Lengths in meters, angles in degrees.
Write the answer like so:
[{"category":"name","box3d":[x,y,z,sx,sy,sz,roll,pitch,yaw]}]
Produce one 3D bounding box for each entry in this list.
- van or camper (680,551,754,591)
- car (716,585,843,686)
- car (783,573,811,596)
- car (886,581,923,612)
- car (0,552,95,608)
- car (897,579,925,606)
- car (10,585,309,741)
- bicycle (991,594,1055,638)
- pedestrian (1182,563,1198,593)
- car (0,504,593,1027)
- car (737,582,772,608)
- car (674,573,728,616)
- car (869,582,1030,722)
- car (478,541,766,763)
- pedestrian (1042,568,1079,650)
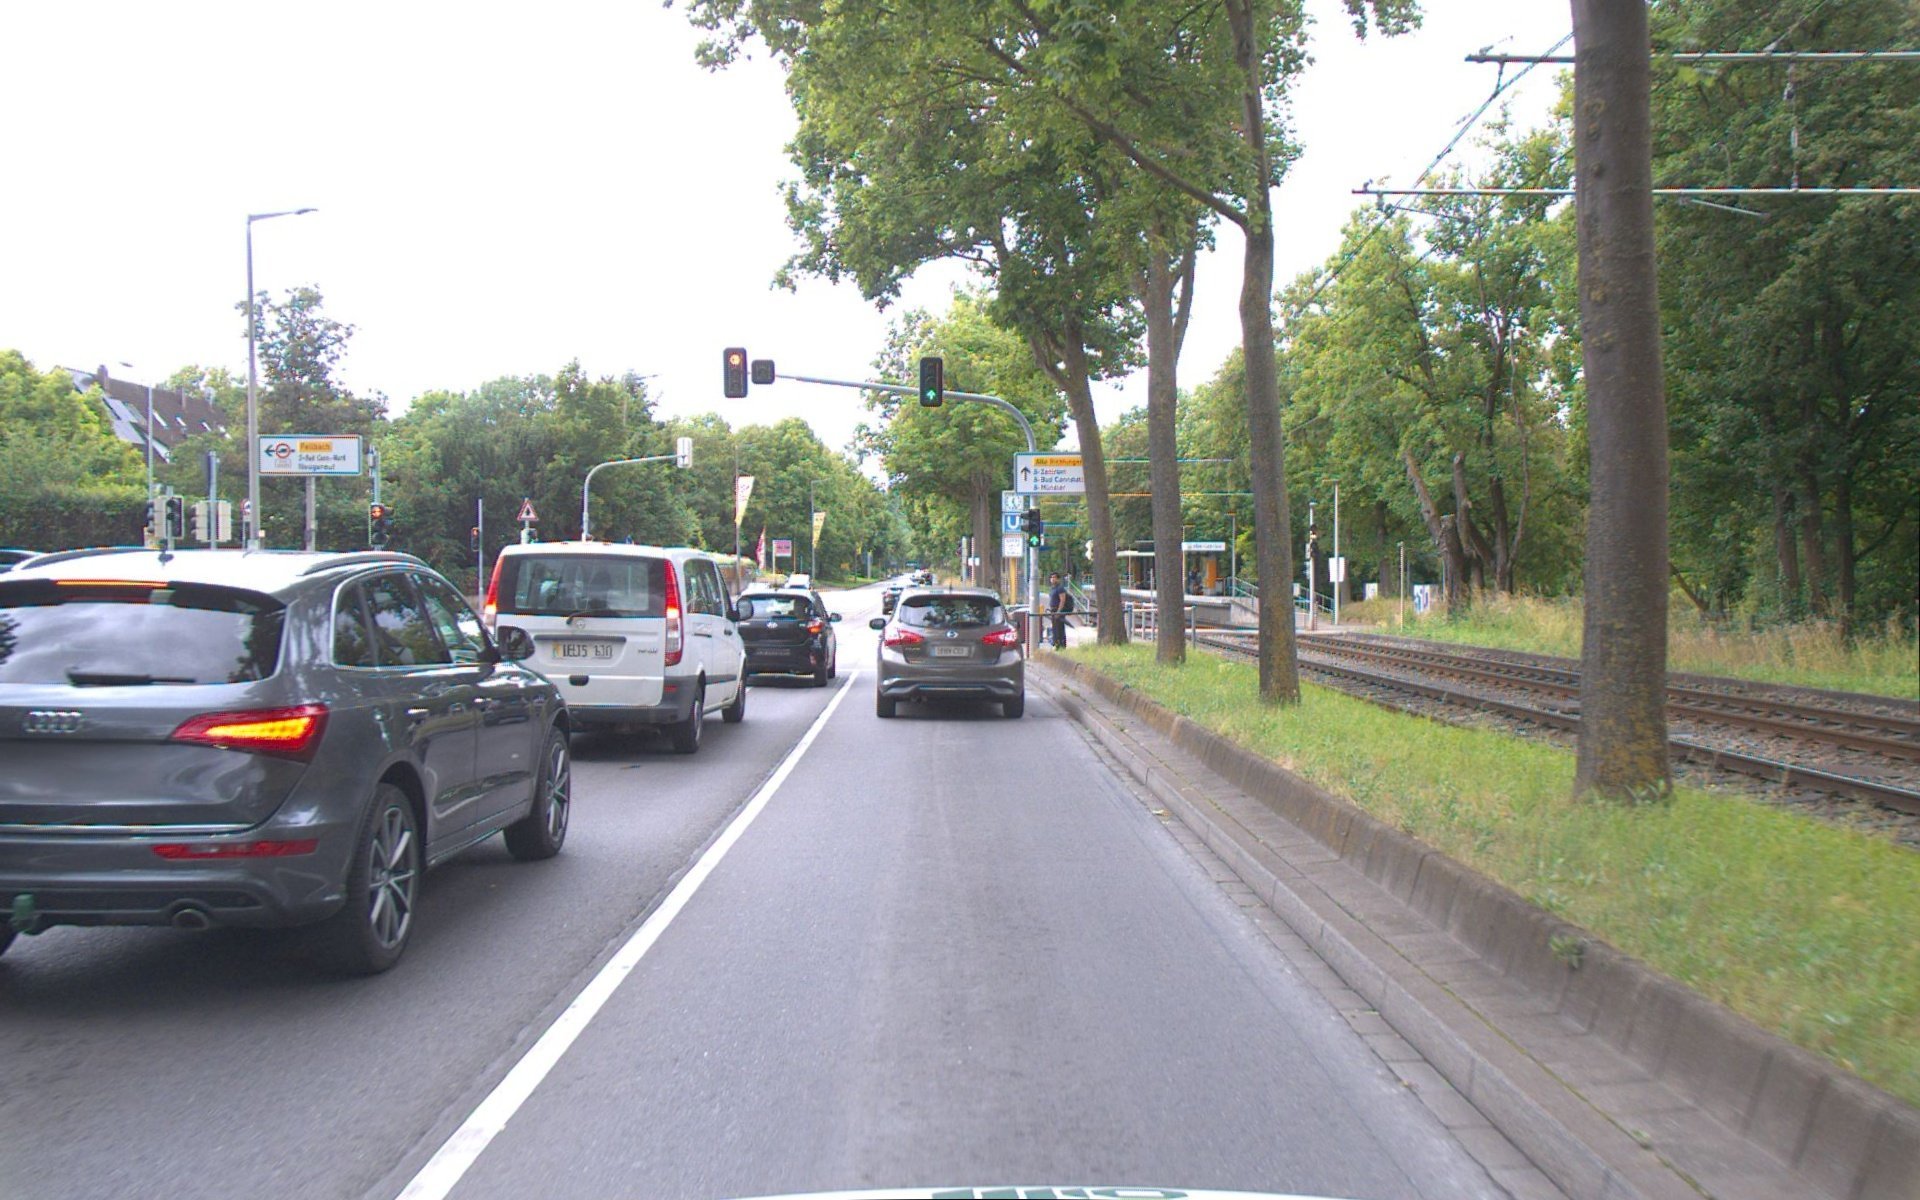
[{"category":"van or camper","box3d":[-24.908,-2.976,169.798,6.998,3.428,2.796,5,1,-1]},{"category":"car","box3d":[-2.818,0.518,26.473,1.669,1.506,3.667,0,0,-1]},{"category":"car","box3d":[-12.458,-1.160,126.695,1.864,1.708,5.078,0,0,-3]},{"category":"car","box3d":[-2.797,-0.184,84.459,1.675,1.501,3.672,1,0,1]},{"category":"car","box3d":[-32.067,-0.681,56.115,4.341,1.843,1.949,1,0,-3]},{"category":"car","box3d":[-3.001,-0.465,101.931,1.472,1.555,3.672,1,0,1]},{"category":"car","box3d":[-8.940,0.633,18.857,1.705,1.565,3.907,1,0,-4]},{"category":"bicycle","box3d":[1.726,0.439,45.481,1.641,1.109,0.601,-3,0,-5]},{"category":"pedestrian","box3d":[12.271,-1.174,88.235,0.703,1.537,0.724,2,0,2]},{"category":"car","box3d":[-3.032,0.554,7.722,1.715,1.748,4.333,0,0,-1]},{"category":"car","box3d":[-12.450,-0.294,100.262,1.707,1.490,4.340,2,0,-3]},{"category":"car","box3d":[-11.942,-0.275,76.537,1.903,1.906,4.540,1,0,-2]},{"category":"car","box3d":[-0.083,0.568,20.641,1.799,1.555,3.929,1,0,1]},{"category":"car","box3d":[-3.172,0.425,16.654,1.868,1.875,5.281,0,0,-1]},{"category":"pedestrian","box3d":[2.232,0.196,36.768,0.736,1.767,0.840,-2,0,4]}]
